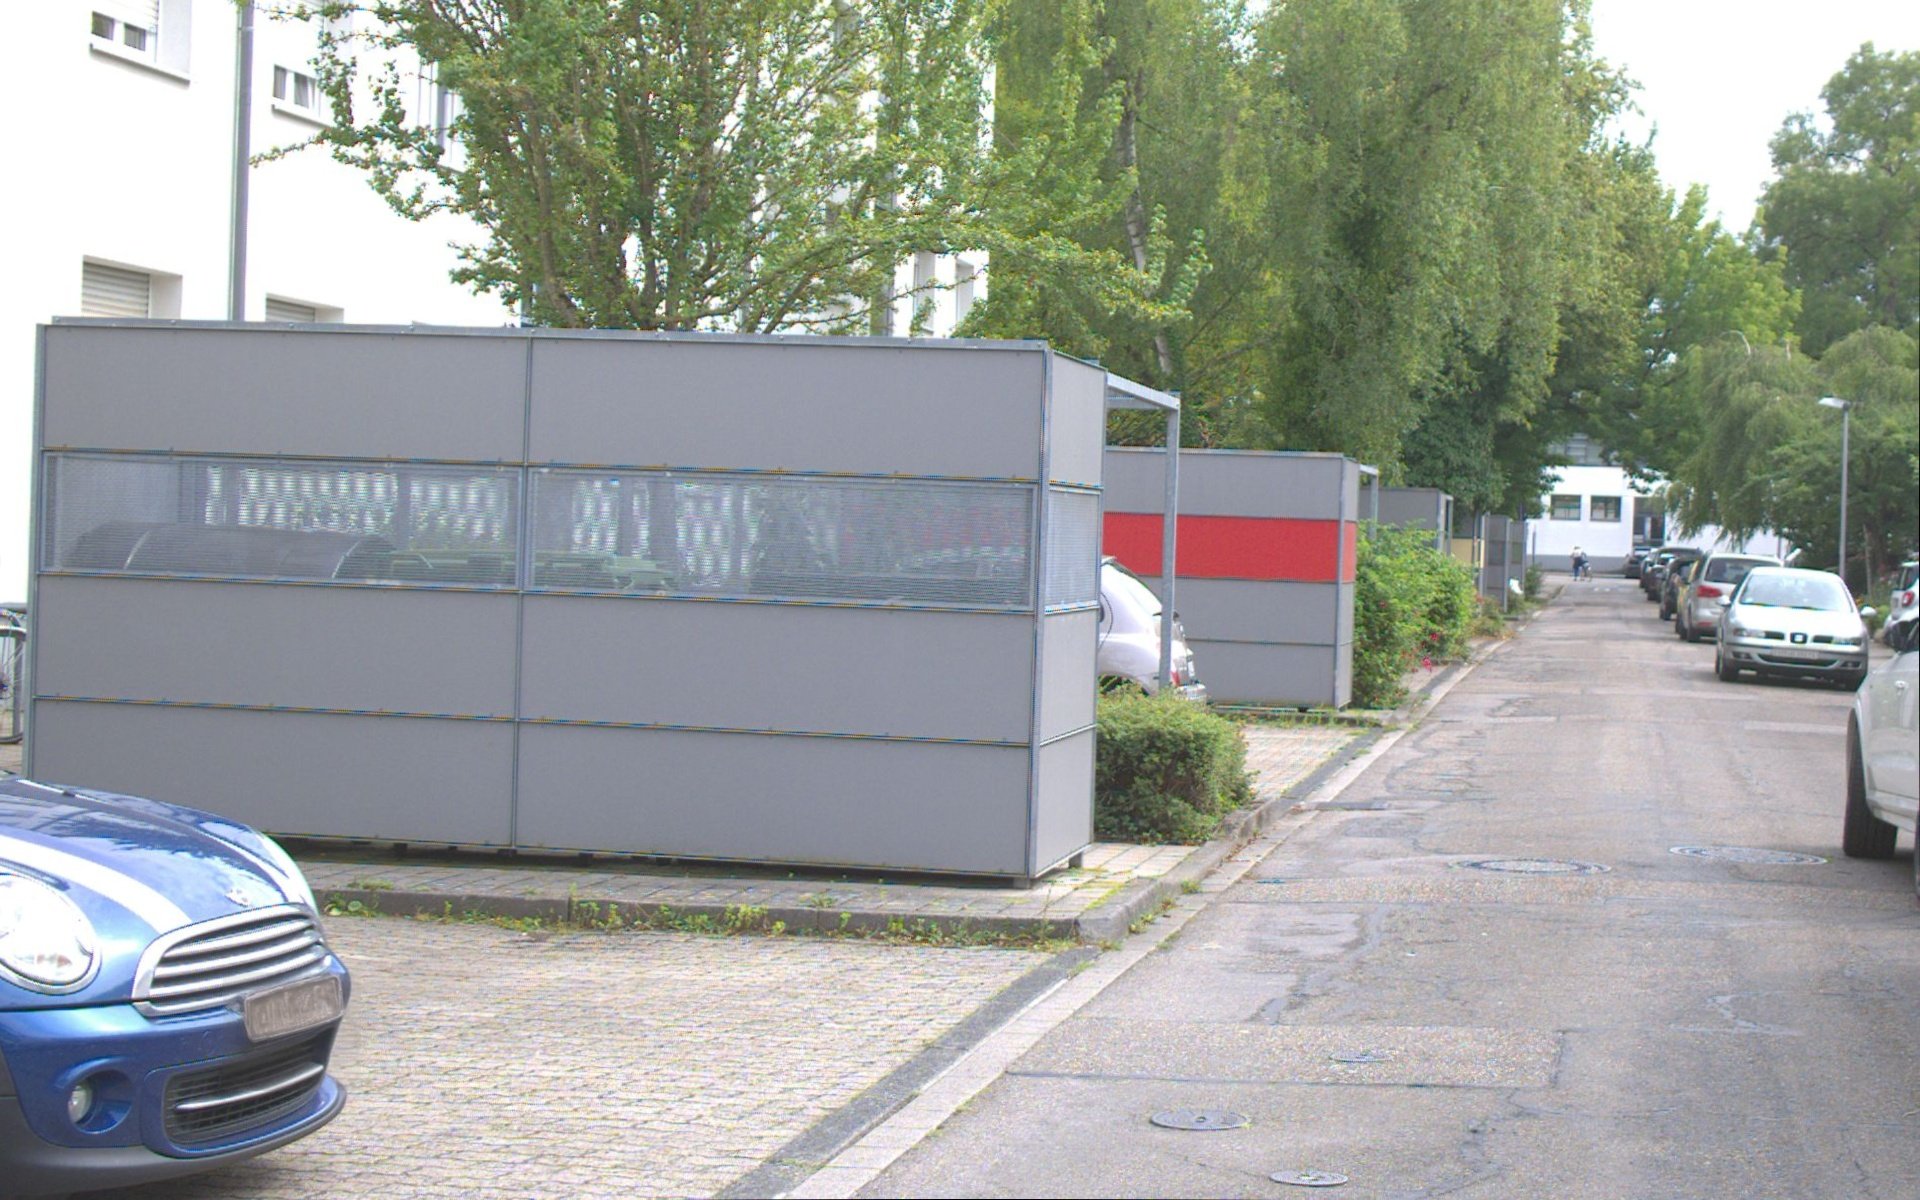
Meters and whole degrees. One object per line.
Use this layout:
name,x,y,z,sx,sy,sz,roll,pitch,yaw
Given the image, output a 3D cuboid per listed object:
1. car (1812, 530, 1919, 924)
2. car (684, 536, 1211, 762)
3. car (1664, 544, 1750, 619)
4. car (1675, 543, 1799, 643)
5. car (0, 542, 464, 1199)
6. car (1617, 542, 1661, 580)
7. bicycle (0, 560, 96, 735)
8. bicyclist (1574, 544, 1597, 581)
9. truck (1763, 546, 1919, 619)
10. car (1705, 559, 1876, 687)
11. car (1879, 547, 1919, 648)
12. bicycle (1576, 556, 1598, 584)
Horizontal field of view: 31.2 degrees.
car,5.193,0.547,16.094,1.825,1.630,4.161,4,1,8
car,-0.042,0.316,24.558,3.562,1.475,1.710,1,1,7
car,17.547,-0.463,80.884,1.826,1.576,4.191,4,2,11
car,13.733,-0.157,60.937,1.826,1.576,3.999,4,2,10
car,-3.193,0.561,7.959,3.637,1.456,1.651,3,1,15
car,31.076,-1.789,157.308,1.826,1.576,3.998,4,2,11
bicycle,-6.090,0.267,20.341,1.805,1.021,0.479,2,1,-30
bicyclist,26.424,-1.602,145.292,0.799,1.505,0.933,4,1,13
truck,25.187,-0.515,97.930,4.392,2.007,1.999,1,1,11
car,10.294,0.243,42.855,1.826,1.365,4.329,4,2,11
car,16.052,-0.046,54.248,2.817,1.564,1.740,0,1,9
bicycle,26.476,-1.273,145.172,0.689,1.127,2.577,4,1,13
